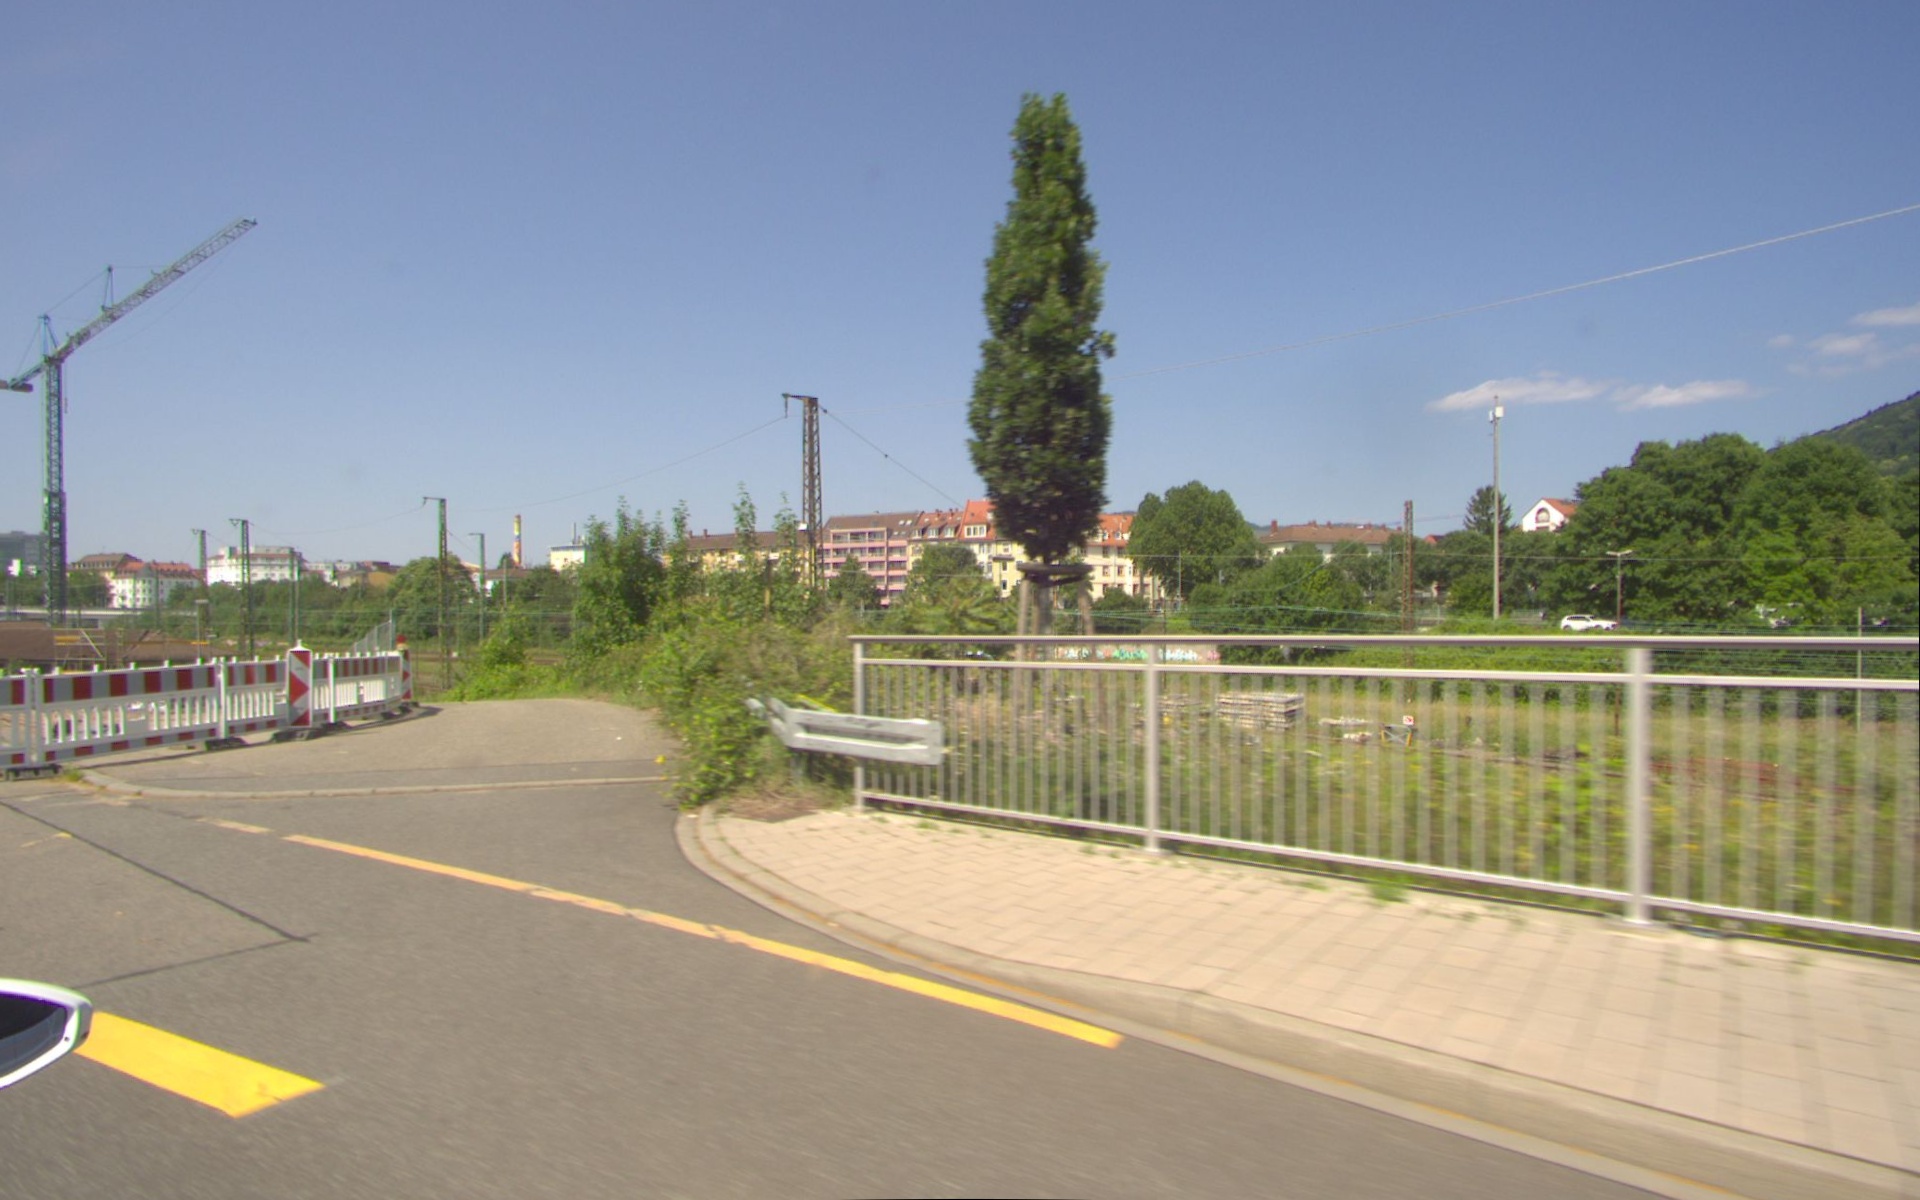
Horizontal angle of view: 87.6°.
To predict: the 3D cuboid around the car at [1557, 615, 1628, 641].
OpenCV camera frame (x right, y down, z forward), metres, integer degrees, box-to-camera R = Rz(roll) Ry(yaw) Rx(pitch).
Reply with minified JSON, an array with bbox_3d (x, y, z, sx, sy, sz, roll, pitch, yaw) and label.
[{"bbox_3d":[54.460,2.415,86.269,1.981,2.140,4.941,0,0,-44],"label":"car"}]
